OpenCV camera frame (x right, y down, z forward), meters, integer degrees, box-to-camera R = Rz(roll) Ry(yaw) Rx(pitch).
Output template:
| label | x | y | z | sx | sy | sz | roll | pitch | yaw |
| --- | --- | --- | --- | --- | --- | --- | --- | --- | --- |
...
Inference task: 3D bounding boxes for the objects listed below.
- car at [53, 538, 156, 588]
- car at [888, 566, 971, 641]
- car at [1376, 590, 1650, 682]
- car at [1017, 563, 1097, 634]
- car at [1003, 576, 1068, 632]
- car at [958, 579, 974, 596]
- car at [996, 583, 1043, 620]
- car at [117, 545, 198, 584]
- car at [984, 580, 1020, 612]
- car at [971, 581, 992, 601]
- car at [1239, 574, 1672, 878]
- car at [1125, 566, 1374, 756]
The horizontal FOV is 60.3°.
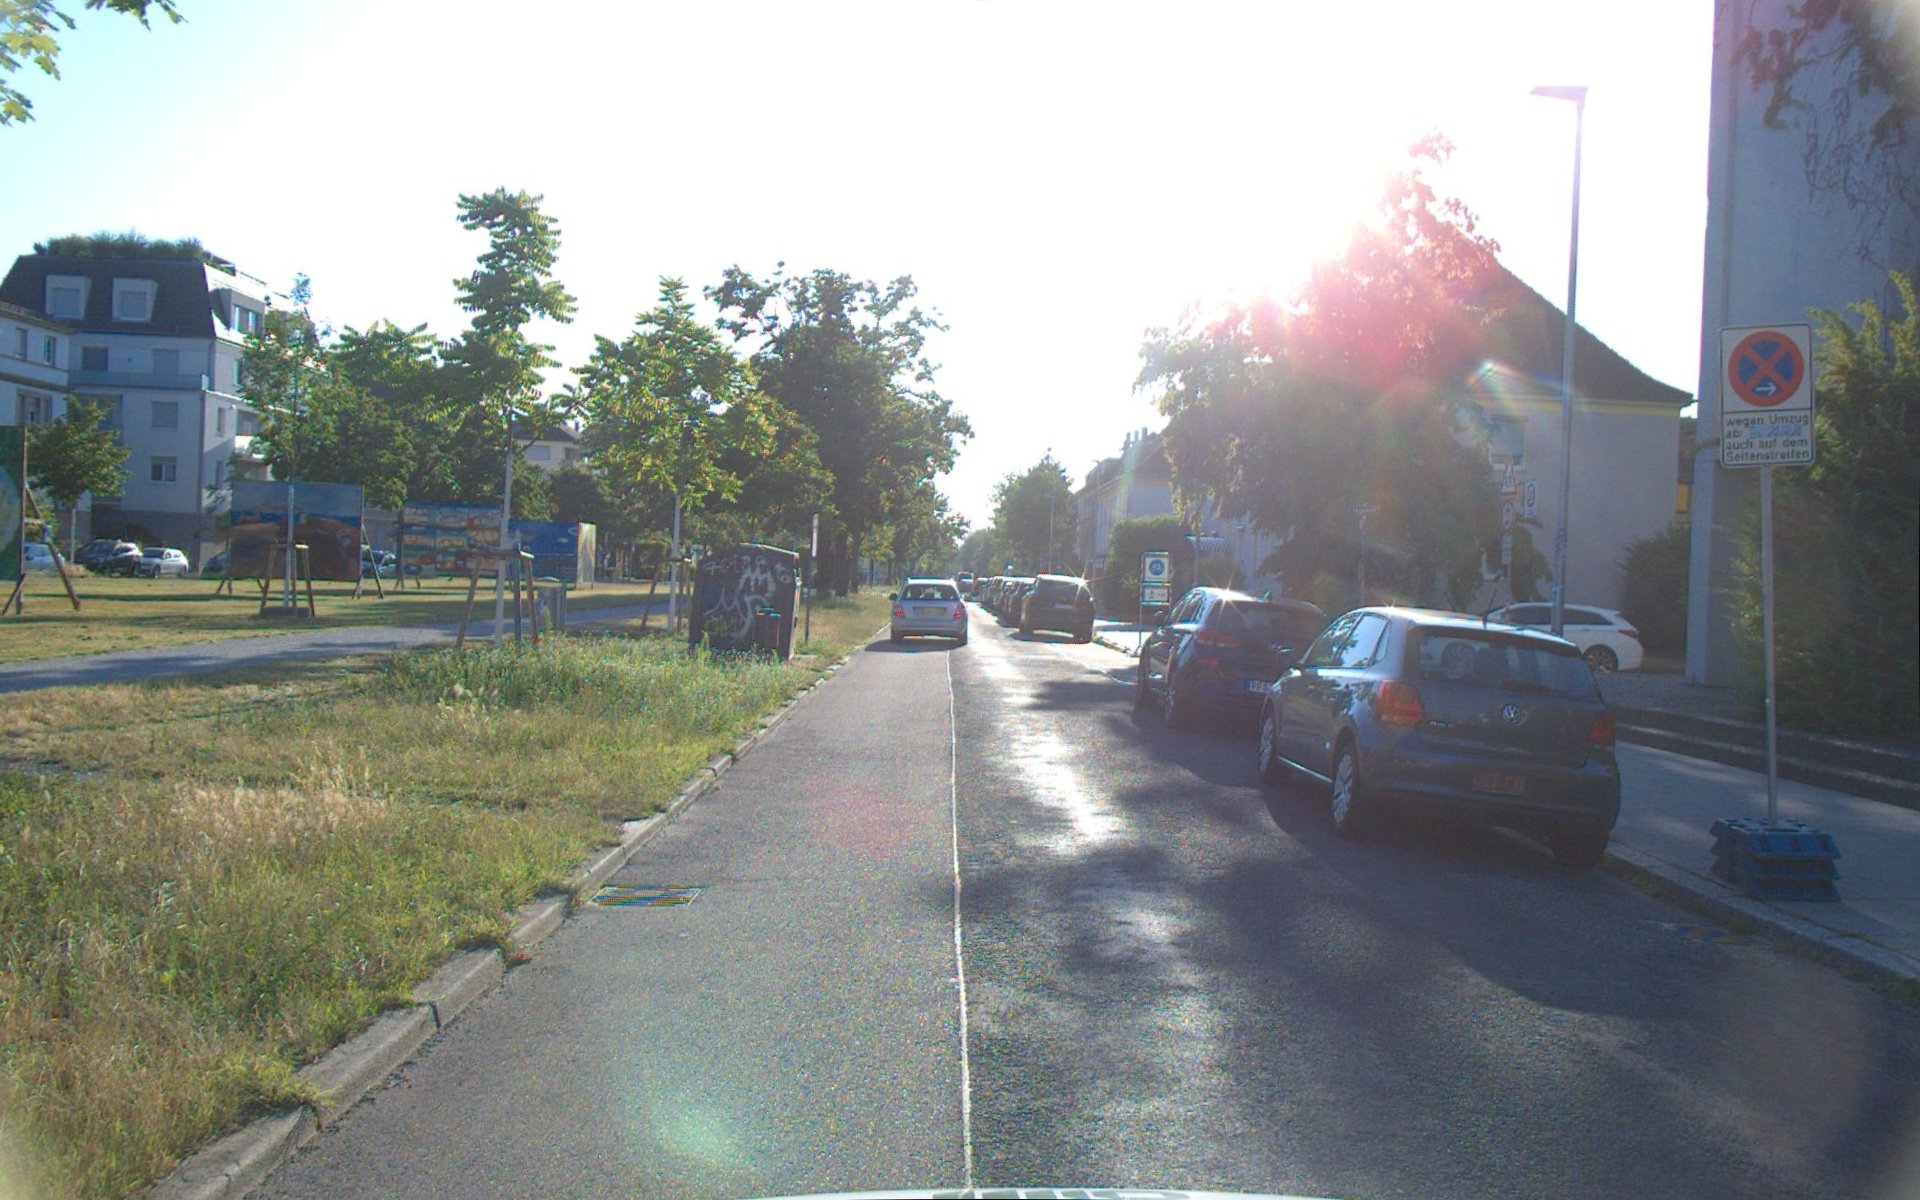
| label | x | y | z | sx | sy | sz | roll | pitch | yaw |
| --- | --- | --- | --- | --- | --- | --- | --- | --- | --- |
| car | -39.760 | -1.689 | 76.987 | 2.192 | 2.168 | 4.854 | -1 | -1 | 1 |
| car | -0.662 | 0.049 | 37.994 | 1.786 | 1.594 | 4.000 | 1 | 1 | 0 |
| car | 10.911 | 0.736 | 32.865 | 4.749 | 1.512 | 2.002 | 3 | -3 | -1 |
| car | 2.686 | -0.041 | 46.853 | 1.796 | 1.761 | 5.031 | 5 | 0 | -1 |
| car | 2.627 | 0.101 | 58.623 | 1.894 | 1.750 | 4.621 | 5 | 1 | -1 |
| car | 0.750 | -1.550 | 203.244 | 1.948 | 2.058 | 4.000 | 2 | 0 | 0 |
| car | 2.645 | 0.044 | 74.538 | 1.953 | 1.487 | 4.562 | 4 | 0 | 1 |
| car | -39.704 | -1.742 | 81.952 | 1.784 | 1.775 | 4.460 | -1 | -1 | 1 |
| car | 2.296 | -0.225 | 90.954 | 1.741 | 1.672 | 4.755 | 2 | 0 | -1 |
| car | 1.884 | -0.747 | 145.041 | 1.686 | 1.625 | 4.000 | 2 | -1 | 0 |
| car | 3.229 | 0.699 | 11.681 | 1.654 | 1.553 | 4.175 | 6 | 1 | 0 |
| car | 3.048 | 0.562 | 18.387 | 1.787 | 1.587 | 4.622 | 8 | 1 | 0 |
